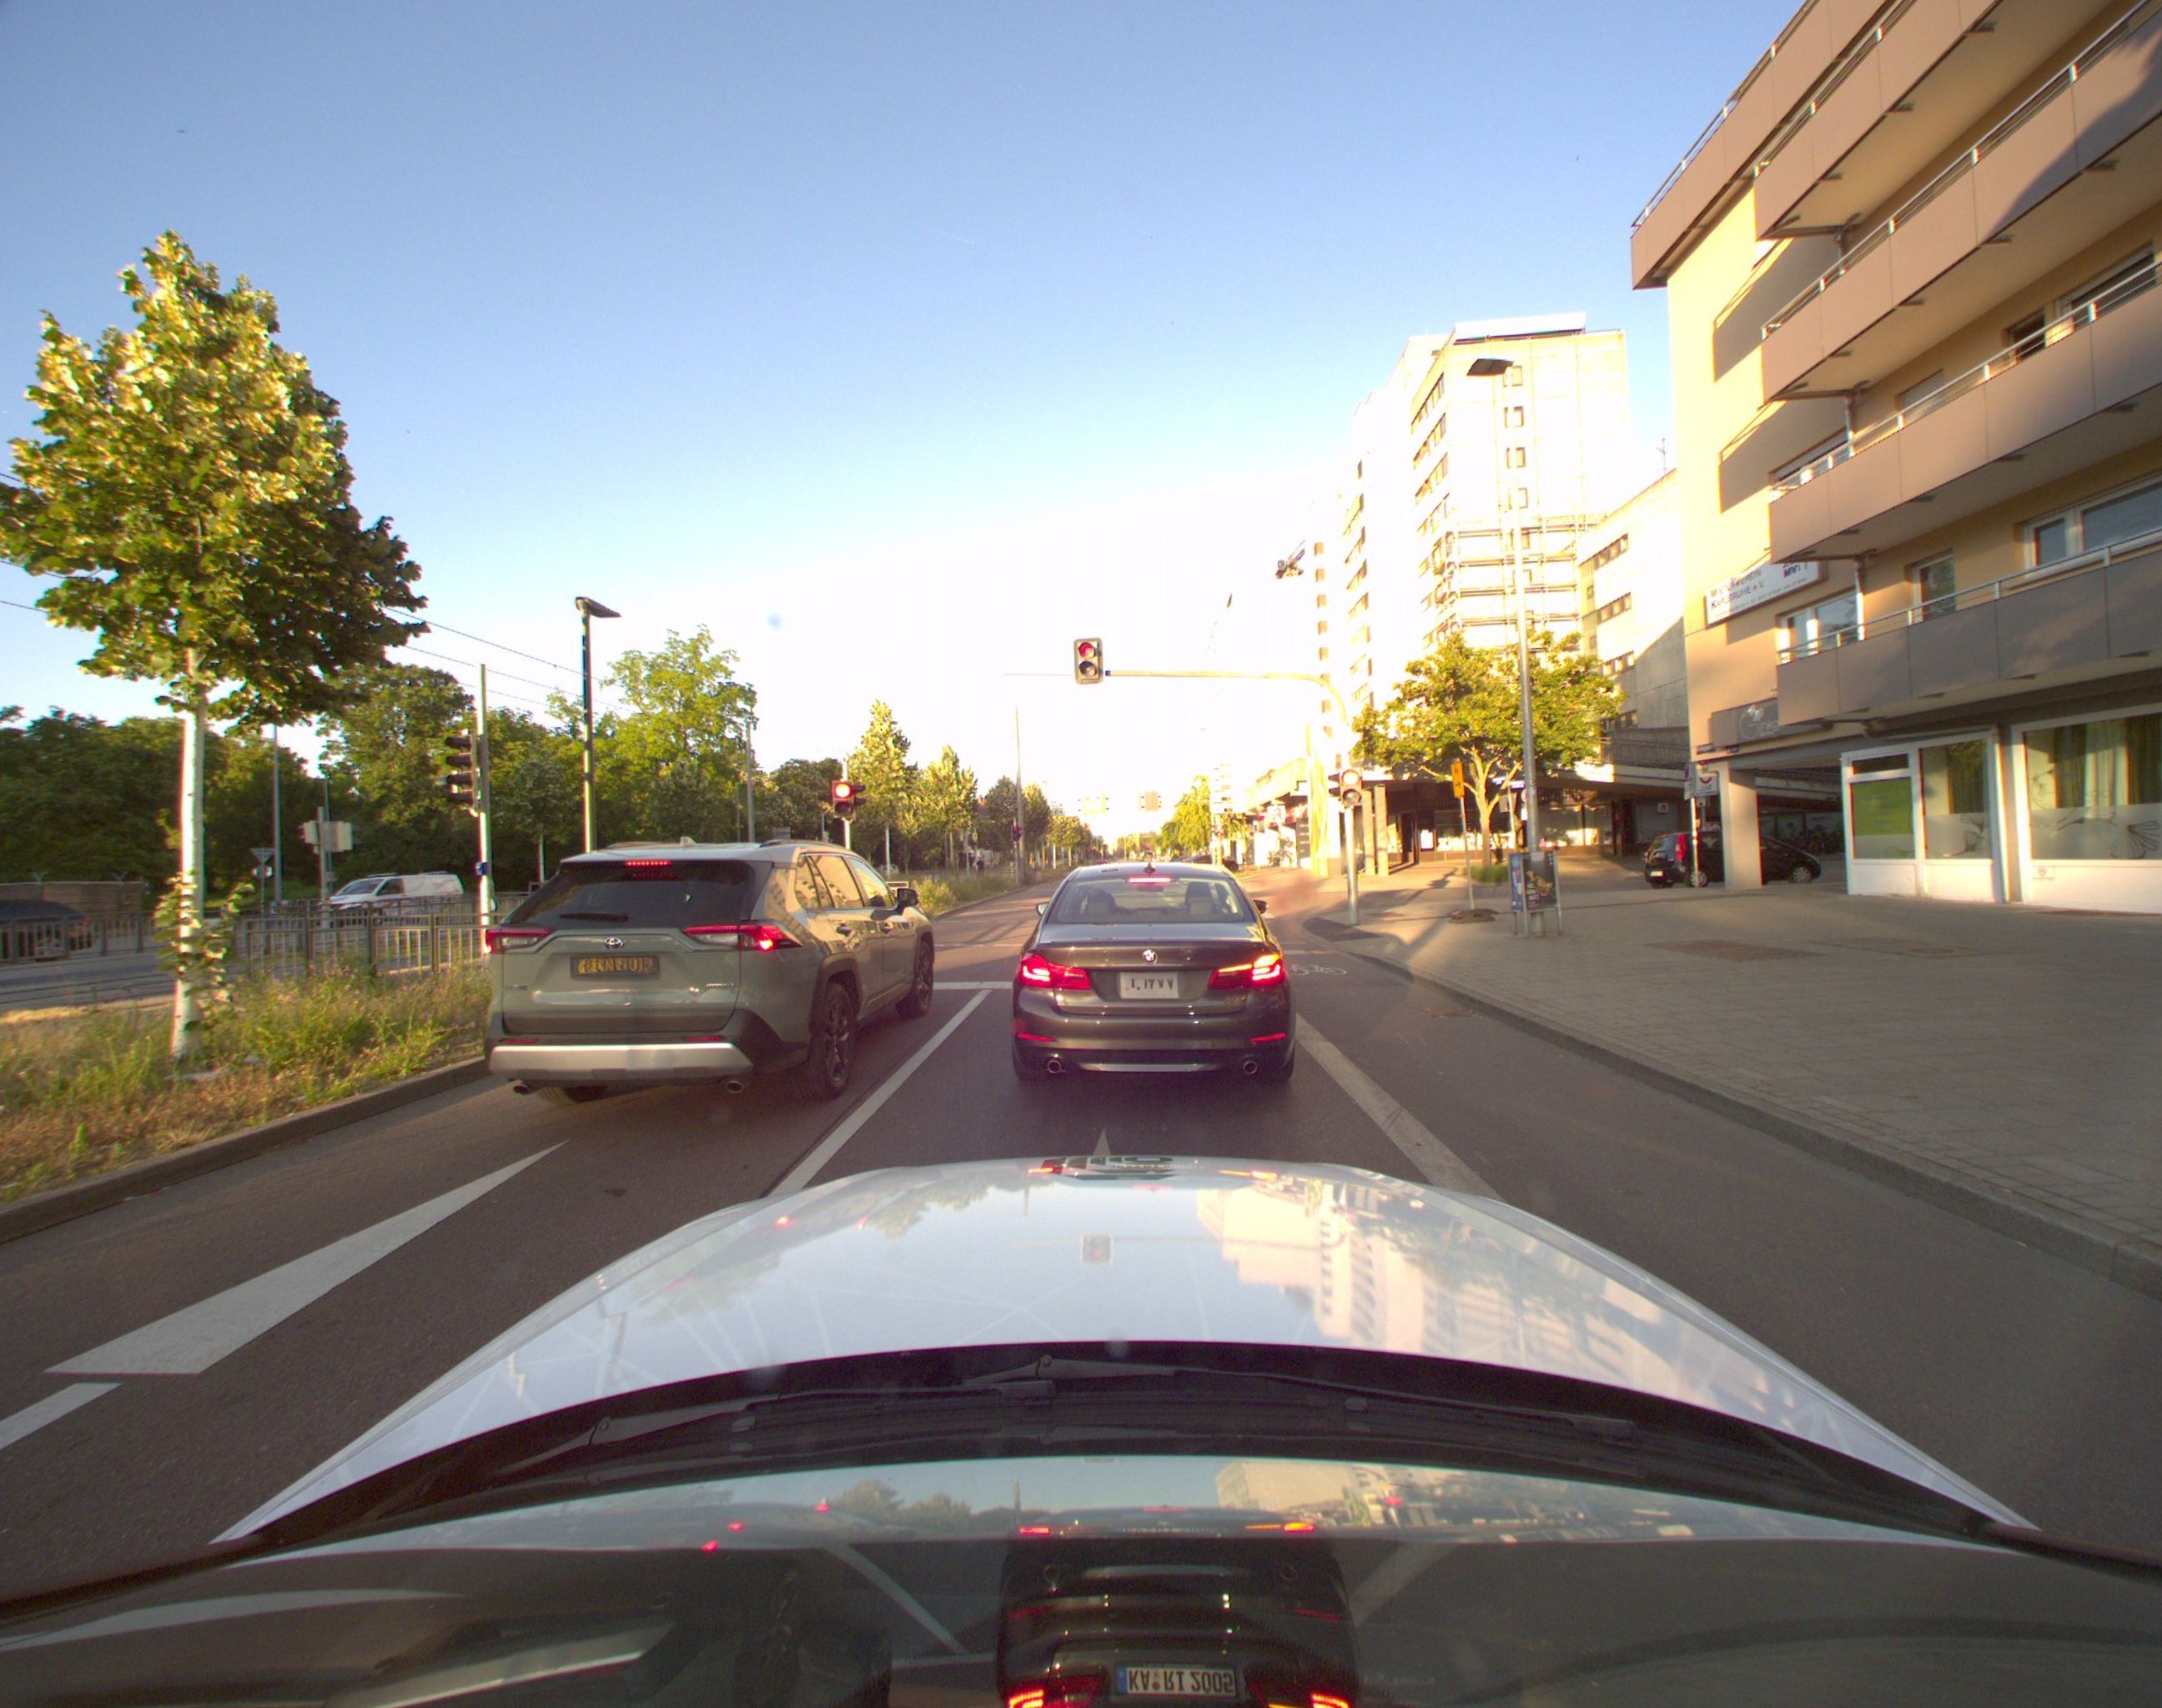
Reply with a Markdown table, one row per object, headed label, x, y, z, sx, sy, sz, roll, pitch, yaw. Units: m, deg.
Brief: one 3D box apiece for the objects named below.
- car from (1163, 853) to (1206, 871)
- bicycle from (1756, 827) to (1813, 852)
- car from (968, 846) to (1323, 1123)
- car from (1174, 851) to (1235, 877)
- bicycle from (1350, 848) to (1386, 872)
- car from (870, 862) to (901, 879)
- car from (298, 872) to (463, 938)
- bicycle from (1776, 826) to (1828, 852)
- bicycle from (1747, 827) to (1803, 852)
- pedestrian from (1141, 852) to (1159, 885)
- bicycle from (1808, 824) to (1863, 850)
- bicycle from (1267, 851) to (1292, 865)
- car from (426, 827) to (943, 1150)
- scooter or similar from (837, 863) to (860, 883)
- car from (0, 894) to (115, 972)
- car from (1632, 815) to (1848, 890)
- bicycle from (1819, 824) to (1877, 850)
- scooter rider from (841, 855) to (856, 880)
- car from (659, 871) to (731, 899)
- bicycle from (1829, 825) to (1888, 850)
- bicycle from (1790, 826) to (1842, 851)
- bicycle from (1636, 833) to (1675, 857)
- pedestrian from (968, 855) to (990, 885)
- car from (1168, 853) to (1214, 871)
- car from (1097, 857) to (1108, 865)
| label | x | y | z | sx | sy | sz | roll | pitch | yaw |
| --- | --- | --- | --- | --- | --- | --- | --- | --- | --- |
| car | 10.792 | 0.814 | 85.075 | 4.284 | 1.658 | 1.841 | -2 | 1 | -33 |
| bicycle | 32.285 | -0.653 | 37.400 | 0.583 | 1.075 | 1.963 | 1 | -1 | -21 |
| car | 0.502 | 0.706 | 6.742 | 1.923 | 1.481 | 4.527 | -1 | 1 | 4 |
| car | 8.616 | 0.637 | 56.515 | 4.291 | 1.658 | 1.839 | -2 | 1 | -40 |
| bicycle | 14.468 | 0.308 | 41.148 | 0.690 | 1.149 | 2.012 | 1 | -1 | -16 |
| car | -18.526 | 1.515 | 77.186 | 1.792 | 1.481 | 3.786 | -2 | 0 | 3 |
| car | -26.868 | 1.881 | 31.498 | 1.984 | 2.168 | 4.757 | -1 | 1 | 5 |
| bicycle | 32.882 | -0.668 | 37.182 | 0.579 | 1.075 | 1.976 | 1 | -1 | -1 |
| bicycle | 31.807 | -0.637 | 37.342 | 0.582 | 1.075 | 1.966 | 1 | -1 | -17 |
| pedestrian | 3.628 | 0.768 | 42.919 | 0.832 | 1.712 | 0.648 | -2 | -1 | 1 |
| bicycle | 34.031 | -0.753 | 36.760 | 0.579 | 1.075 | 1.974 | 1 | -1 | -4 |
| bicycle | 16.748 | 0.372 | 68.740 | 2.005 | 1.149 | 0.692 | 0 | -1 | 8 |
| car | -2.433 | 0.671 | 6.392 | 1.848 | 1.658 | 4.270 | -1 | 1 | 1 |
| scooter or similar | -14.456 | 1.170 | 50.597 | 1.333 | 1.153 | 0.510 | -2 | -1 | -18 |
| car | -23.392 | 1.719 | 16.538 | 1.985 | 1.481 | 4.527 | -1 | 1 | 4 |
| car | 17.163 | 0.001 | 21.388 | 4.020 | 1.585 | 1.708 | -4 | -4 | 6 |
| bicycle | 34.645 | -0.754 | 36.830 | 0.580 | 1.075 | 1.971 | 1 | -1 | -9 |
| scooter rider | -14.478 | 0.821 | 50.629 | 0.823 | 1.514 | 0.649 | -2 | -1 | -18 |
| car | -24.495 | 1.937 | 51.869 | 1.983 | 1.481 | 4.531 | -1 | 1 | 6 |
| bicycle | 35.273 | -0.731 | 36.985 | 0.580 | 1.075 | 1.971 | 1 | -1 | -9 |
| bicycle | 33.442 | -0.703 | 37.085 | 0.579 | 1.075 | 1.976 | 1 | -1 | -1 |
| bicycle | 26.966 | -0.392 | 38.229 | 0.578 | 1.075 | 1.980 | 1 | -1 | 5 |
| pedestrian | -5.573 | 0.890 | 44.538 | 0.816 | 1.586 | 0.828 | -2 | -1 | -39 |
| car | 10.669 | 0.759 | 79.007 | 4.285 | 1.658 | 1.841 | -2 | 1 | -34 |
| car | 3.943 | 1.234 | 147.076 | 1.971 | 1.433 | 4.846 | -1 | 1 | 2 |
